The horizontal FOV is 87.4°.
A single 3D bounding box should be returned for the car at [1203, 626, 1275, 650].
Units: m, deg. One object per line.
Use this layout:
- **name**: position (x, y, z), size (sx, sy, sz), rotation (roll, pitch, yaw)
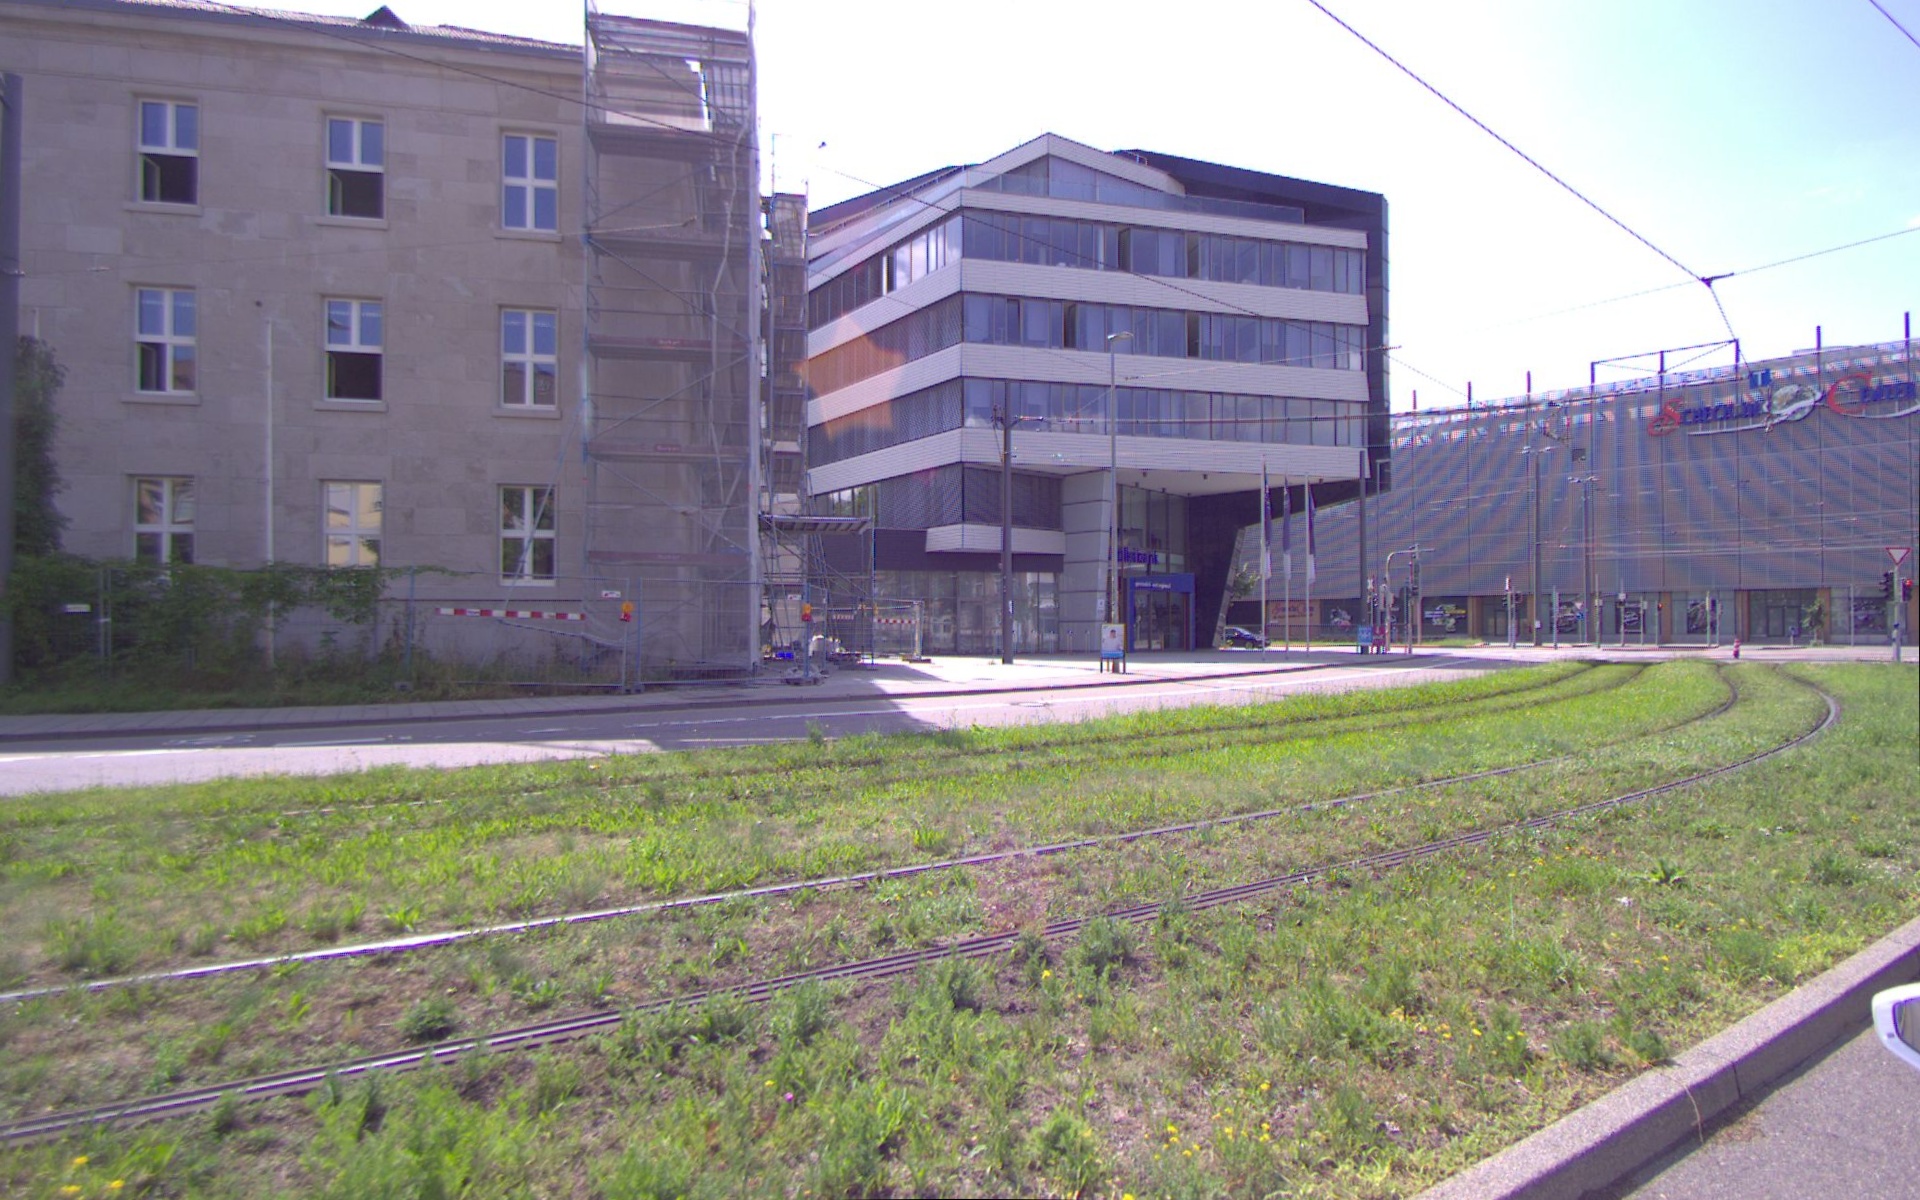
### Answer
- **car**: position (17.678, 2.406, 63.703), size (4.054, 1.488, 1.817), rotation (-2, -2, 43)
